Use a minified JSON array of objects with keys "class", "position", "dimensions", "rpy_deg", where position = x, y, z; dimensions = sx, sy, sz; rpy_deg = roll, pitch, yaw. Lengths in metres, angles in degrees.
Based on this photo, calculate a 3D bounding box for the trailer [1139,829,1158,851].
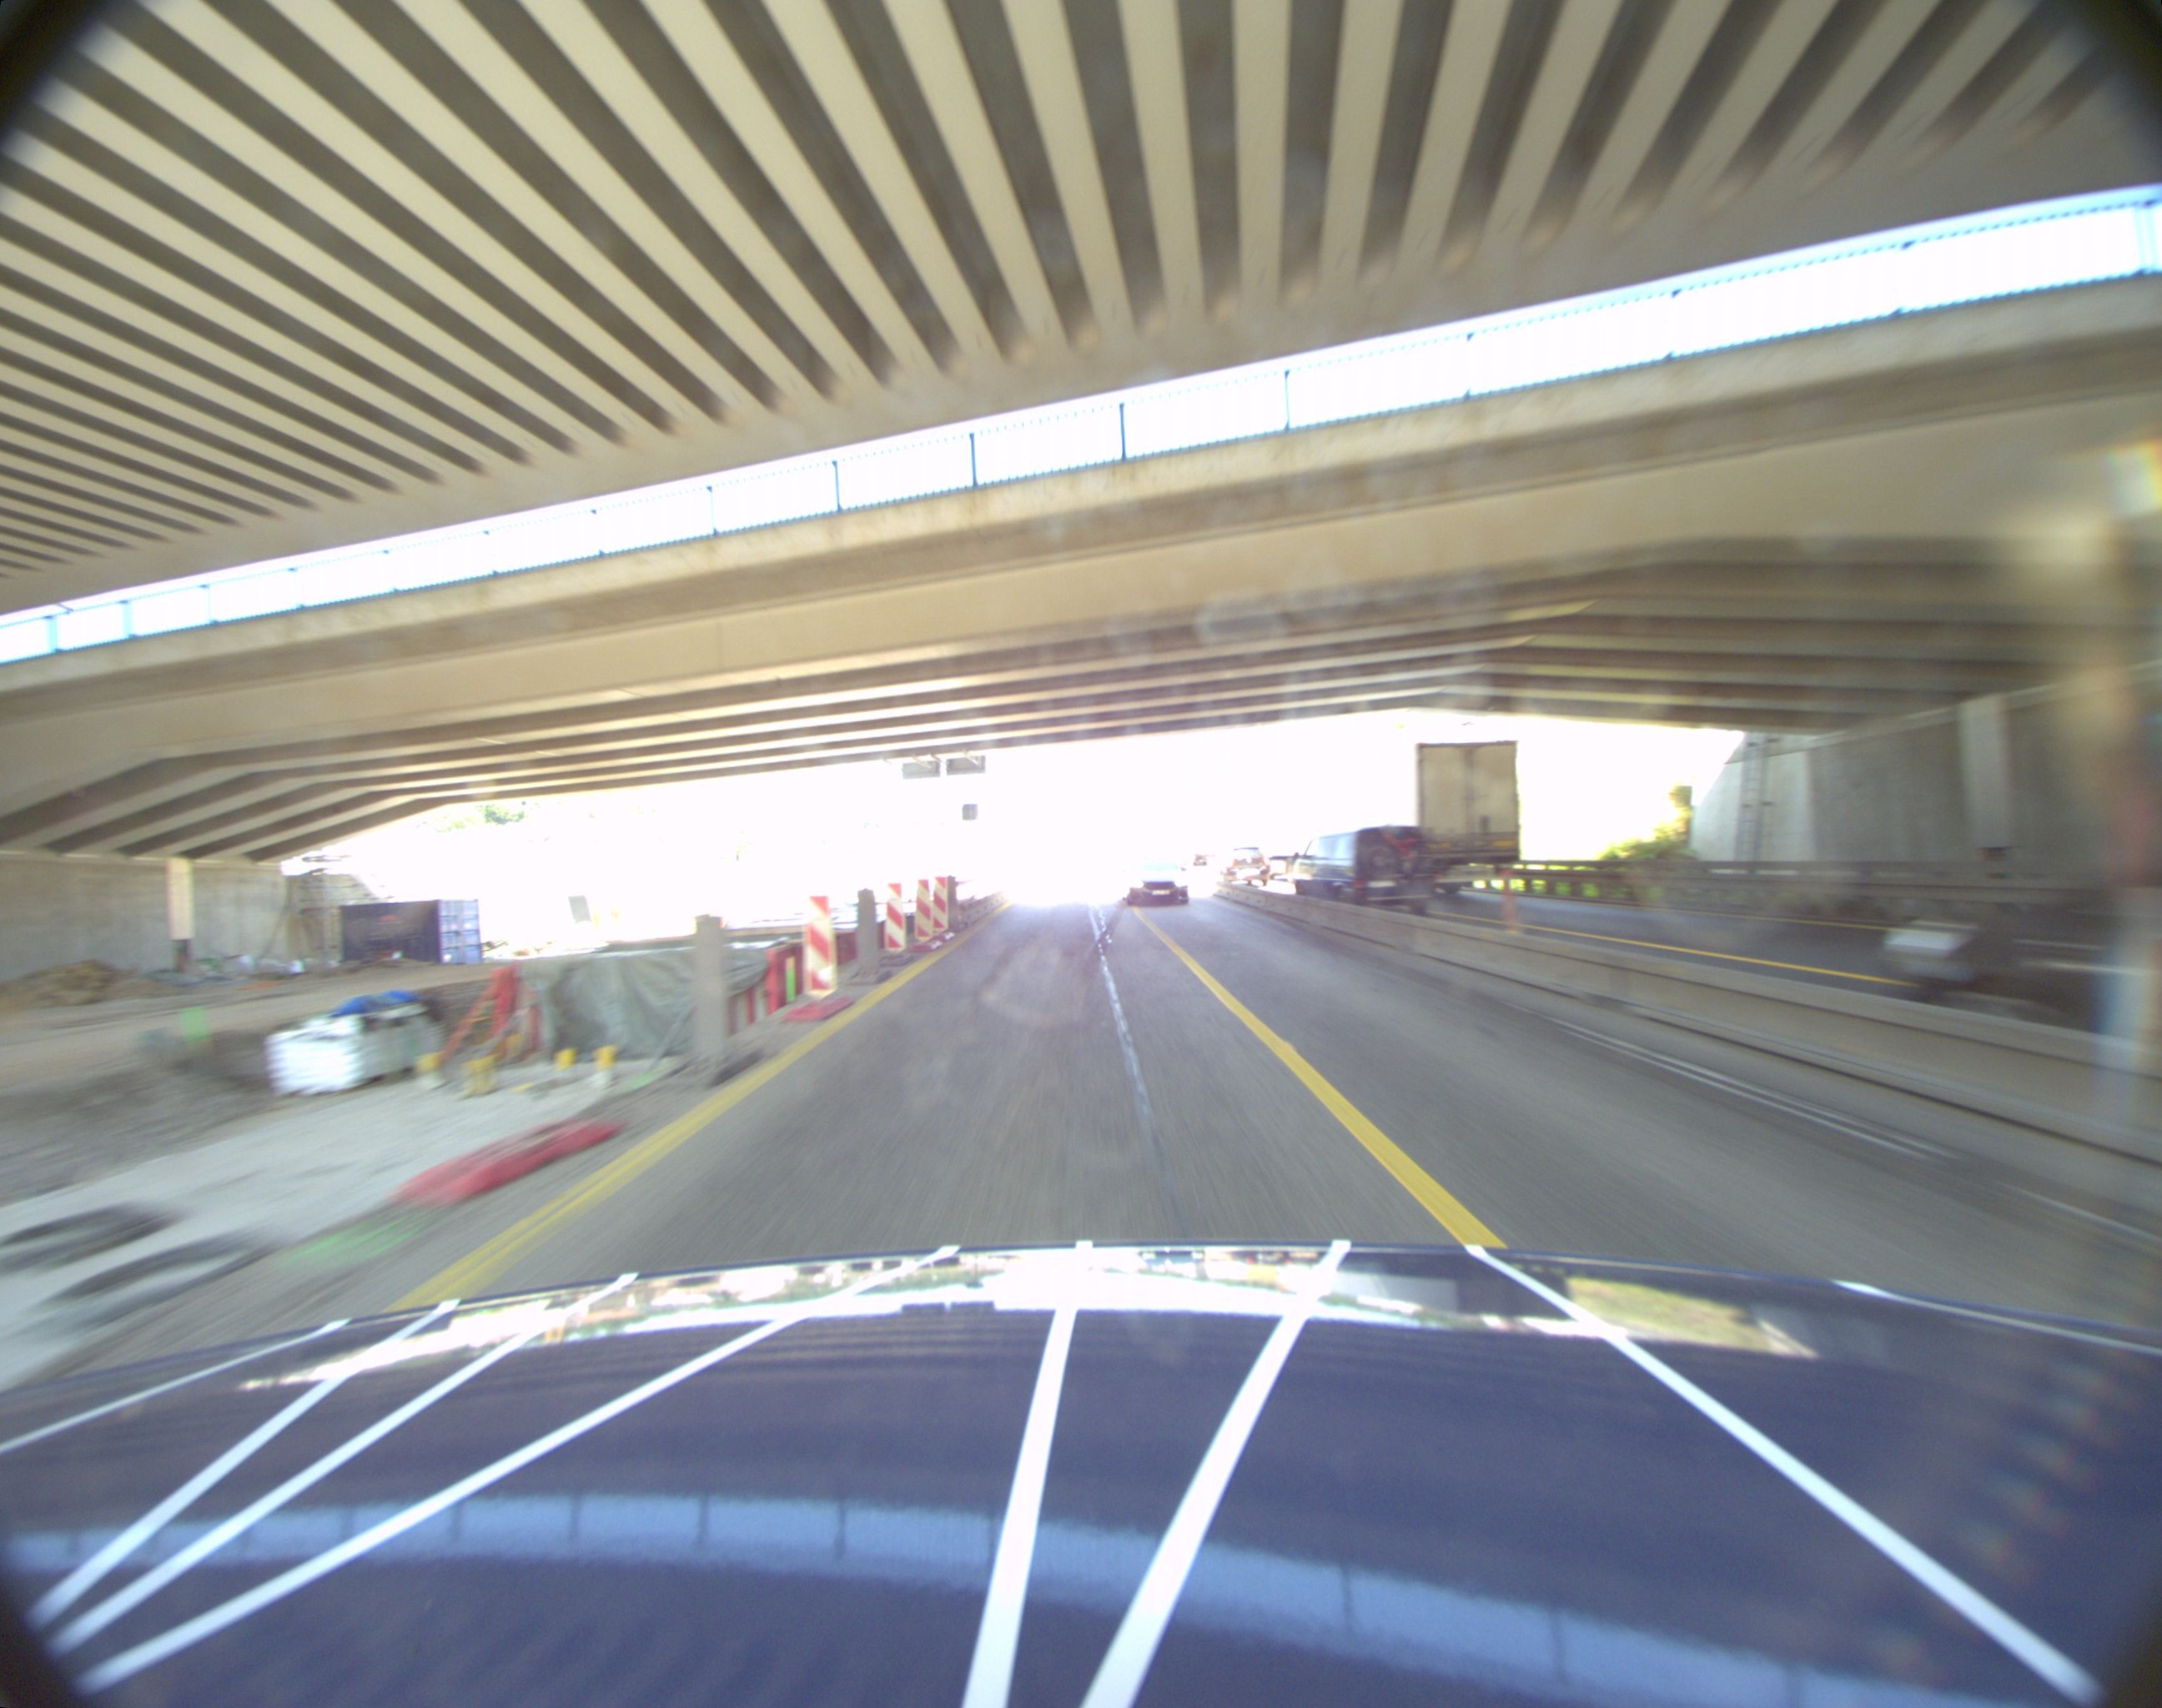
[{"class":"trailer","position":[12.388,-2.643,139.734],"dimensions":[2.606,3.849,11.270],"rpy_deg":[-3,2,1]}]

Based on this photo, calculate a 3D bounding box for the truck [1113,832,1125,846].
[{"class":"truck","position":[11.900,-4.741,239.907],"dimensions":[3.115,4.024,13.153],"rpy_deg":[-3,2,1]}]

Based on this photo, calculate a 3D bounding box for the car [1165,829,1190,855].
[{"class":"car","position":[10.945,-1.433,86.979],"dimensions":[2.280,2.805,6.558],"rpy_deg":[-2,2,3]}]

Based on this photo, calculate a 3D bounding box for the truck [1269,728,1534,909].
[{"class":"truck","position":[9.519,-1.042,25.296],"dimensions":[2.776,4.289,13.484],"rpy_deg":[-3,2,-1]}]

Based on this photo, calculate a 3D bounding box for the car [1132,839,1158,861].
[{"class":"car","position":[5.634,-0.361,67.673],"dimensions":[1.860,1.746,4.606],"rpy_deg":[-3,2,0]}]

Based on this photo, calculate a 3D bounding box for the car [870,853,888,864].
[{"class":"car","position":[-33.655,0.703,126.571],"dimensions":[1.658,1.594,4.604],"rpy_deg":[-3,2,-1]}]

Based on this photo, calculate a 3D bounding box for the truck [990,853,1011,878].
[{"class":"truck","position":[-12.210,1.676,115.748],"dimensions":[2.504,3.386,5.434],"rpy_deg":[-3,2,1]}]

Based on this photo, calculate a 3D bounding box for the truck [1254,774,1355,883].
[{"class":"truck","position":[9.384,-1.061,32.454],"dimensions":[2.666,4.147,5.185],"rpy_deg":[-3,2,1]}]

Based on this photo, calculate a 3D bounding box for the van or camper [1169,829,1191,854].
[{"class":"van or camper","position":[11.373,-1.406,86.694],"dimensions":[2.127,2.689,6.459],"rpy_deg":[-1,1,10]}]

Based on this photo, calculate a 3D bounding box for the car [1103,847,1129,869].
[{"class":"car","position":[2.647,0.263,57.842],"dimensions":[1.838,1.465,4.389],"rpy_deg":[-3,1,1]}]

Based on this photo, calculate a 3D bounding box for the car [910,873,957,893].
[{"class":"car","position":[-16.722,3.276,86.203],"dimensions":[4.801,1.759,1.720],"rpy_deg":[-4,0,0]}]

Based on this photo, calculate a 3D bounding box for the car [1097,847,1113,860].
[{"class":"car","position":[3.112,-0.092,98.599],"dimensions":[1.801,1.543,3.999],"rpy_deg":[-3,0,-2]}]

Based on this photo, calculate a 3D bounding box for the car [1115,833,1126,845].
[{"class":"car","position":[9.150,-3.527,176.304],"dimensions":[2.212,2.615,6.626],"rpy_deg":[-3,1,0]}]

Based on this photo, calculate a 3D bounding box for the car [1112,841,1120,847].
[{"class":"car","position":[9.001,-2.666,195.678],"dimensions":[1.838,1.369,4.388],"rpy_deg":[-3,1,0]}]

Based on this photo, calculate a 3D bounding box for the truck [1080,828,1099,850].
[{"class":"truck","position":[1.620,-2.896,146.159],"dimensions":[3.463,4.024,10.207],"rpy_deg":[-3,2,1]}]

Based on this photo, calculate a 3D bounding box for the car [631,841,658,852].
[{"class":"car","position":[-60.942,-1.040,106.111],"dimensions":[1.545,1.478,3.606],"rpy_deg":[-3,2,1]}]

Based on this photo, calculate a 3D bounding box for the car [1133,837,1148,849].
[{"class":"car","position":[9.147,-1.736,117.375],"dimensions":[1.838,1.655,4.681],"rpy_deg":[-3,3,-1]}]

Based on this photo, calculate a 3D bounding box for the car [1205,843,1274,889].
[{"class":"car","position":[6.270,0.443,30.550],"dimensions":[1.726,1.600,4.523],"rpy_deg":[-4,0,0]}]

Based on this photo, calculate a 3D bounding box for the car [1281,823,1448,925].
[{"class":"car","position":[6.261,0.376,17.486],"dimensions":[1.804,1.921,4.967],"rpy_deg":[-3,1,-2]}]

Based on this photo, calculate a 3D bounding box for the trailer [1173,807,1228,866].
[{"class":"trailer","position":[9.126,-1.400,58.916],"dimensions":[2.820,4.150,8.240],"rpy_deg":[-3,2,0]}]

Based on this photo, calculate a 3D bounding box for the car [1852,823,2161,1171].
[{"class":"car","position":[5.917,0.661,2.901],"dimensions":[1.753,1.600,4.141],"rpy_deg":[-3,1,1]}]

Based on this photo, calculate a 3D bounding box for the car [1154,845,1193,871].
[{"class":"car","position":[5.965,0.219,49.562],"dimensions":[1.860,1.519,4.771],"rpy_deg":[-3,2,0]}]

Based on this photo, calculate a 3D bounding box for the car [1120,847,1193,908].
[{"class":"car","position":[2.237,0.642,23.530],"dimensions":[1.838,1.588,4.389],"rpy_deg":[-3,1,1]}]

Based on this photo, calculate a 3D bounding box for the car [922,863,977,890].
[{"class":"car","position":[-16.137,2.748,93.063],"dimensions":[6.308,2.566,2.053],"rpy_deg":[-6,0,-13]}]

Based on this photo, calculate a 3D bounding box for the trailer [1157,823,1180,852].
[{"class":"trailer","position":[12.277,-2.386,107.284],"dimensions":[2.661,3.794,11.821],"rpy_deg":[-2,2,5]}]

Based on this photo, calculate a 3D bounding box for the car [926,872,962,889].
[{"class":"car","position":[-16.084,3.088,89.368],"dimensions":[3.871,1.676,1.692],"rpy_deg":[-4,1,-5]}]

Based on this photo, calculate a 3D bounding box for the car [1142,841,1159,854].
[{"class":"car","position":[8.620,-0.835,94.348],"dimensions":[1.758,1.509,4.186],"rpy_deg":[-3,0,1]}]
